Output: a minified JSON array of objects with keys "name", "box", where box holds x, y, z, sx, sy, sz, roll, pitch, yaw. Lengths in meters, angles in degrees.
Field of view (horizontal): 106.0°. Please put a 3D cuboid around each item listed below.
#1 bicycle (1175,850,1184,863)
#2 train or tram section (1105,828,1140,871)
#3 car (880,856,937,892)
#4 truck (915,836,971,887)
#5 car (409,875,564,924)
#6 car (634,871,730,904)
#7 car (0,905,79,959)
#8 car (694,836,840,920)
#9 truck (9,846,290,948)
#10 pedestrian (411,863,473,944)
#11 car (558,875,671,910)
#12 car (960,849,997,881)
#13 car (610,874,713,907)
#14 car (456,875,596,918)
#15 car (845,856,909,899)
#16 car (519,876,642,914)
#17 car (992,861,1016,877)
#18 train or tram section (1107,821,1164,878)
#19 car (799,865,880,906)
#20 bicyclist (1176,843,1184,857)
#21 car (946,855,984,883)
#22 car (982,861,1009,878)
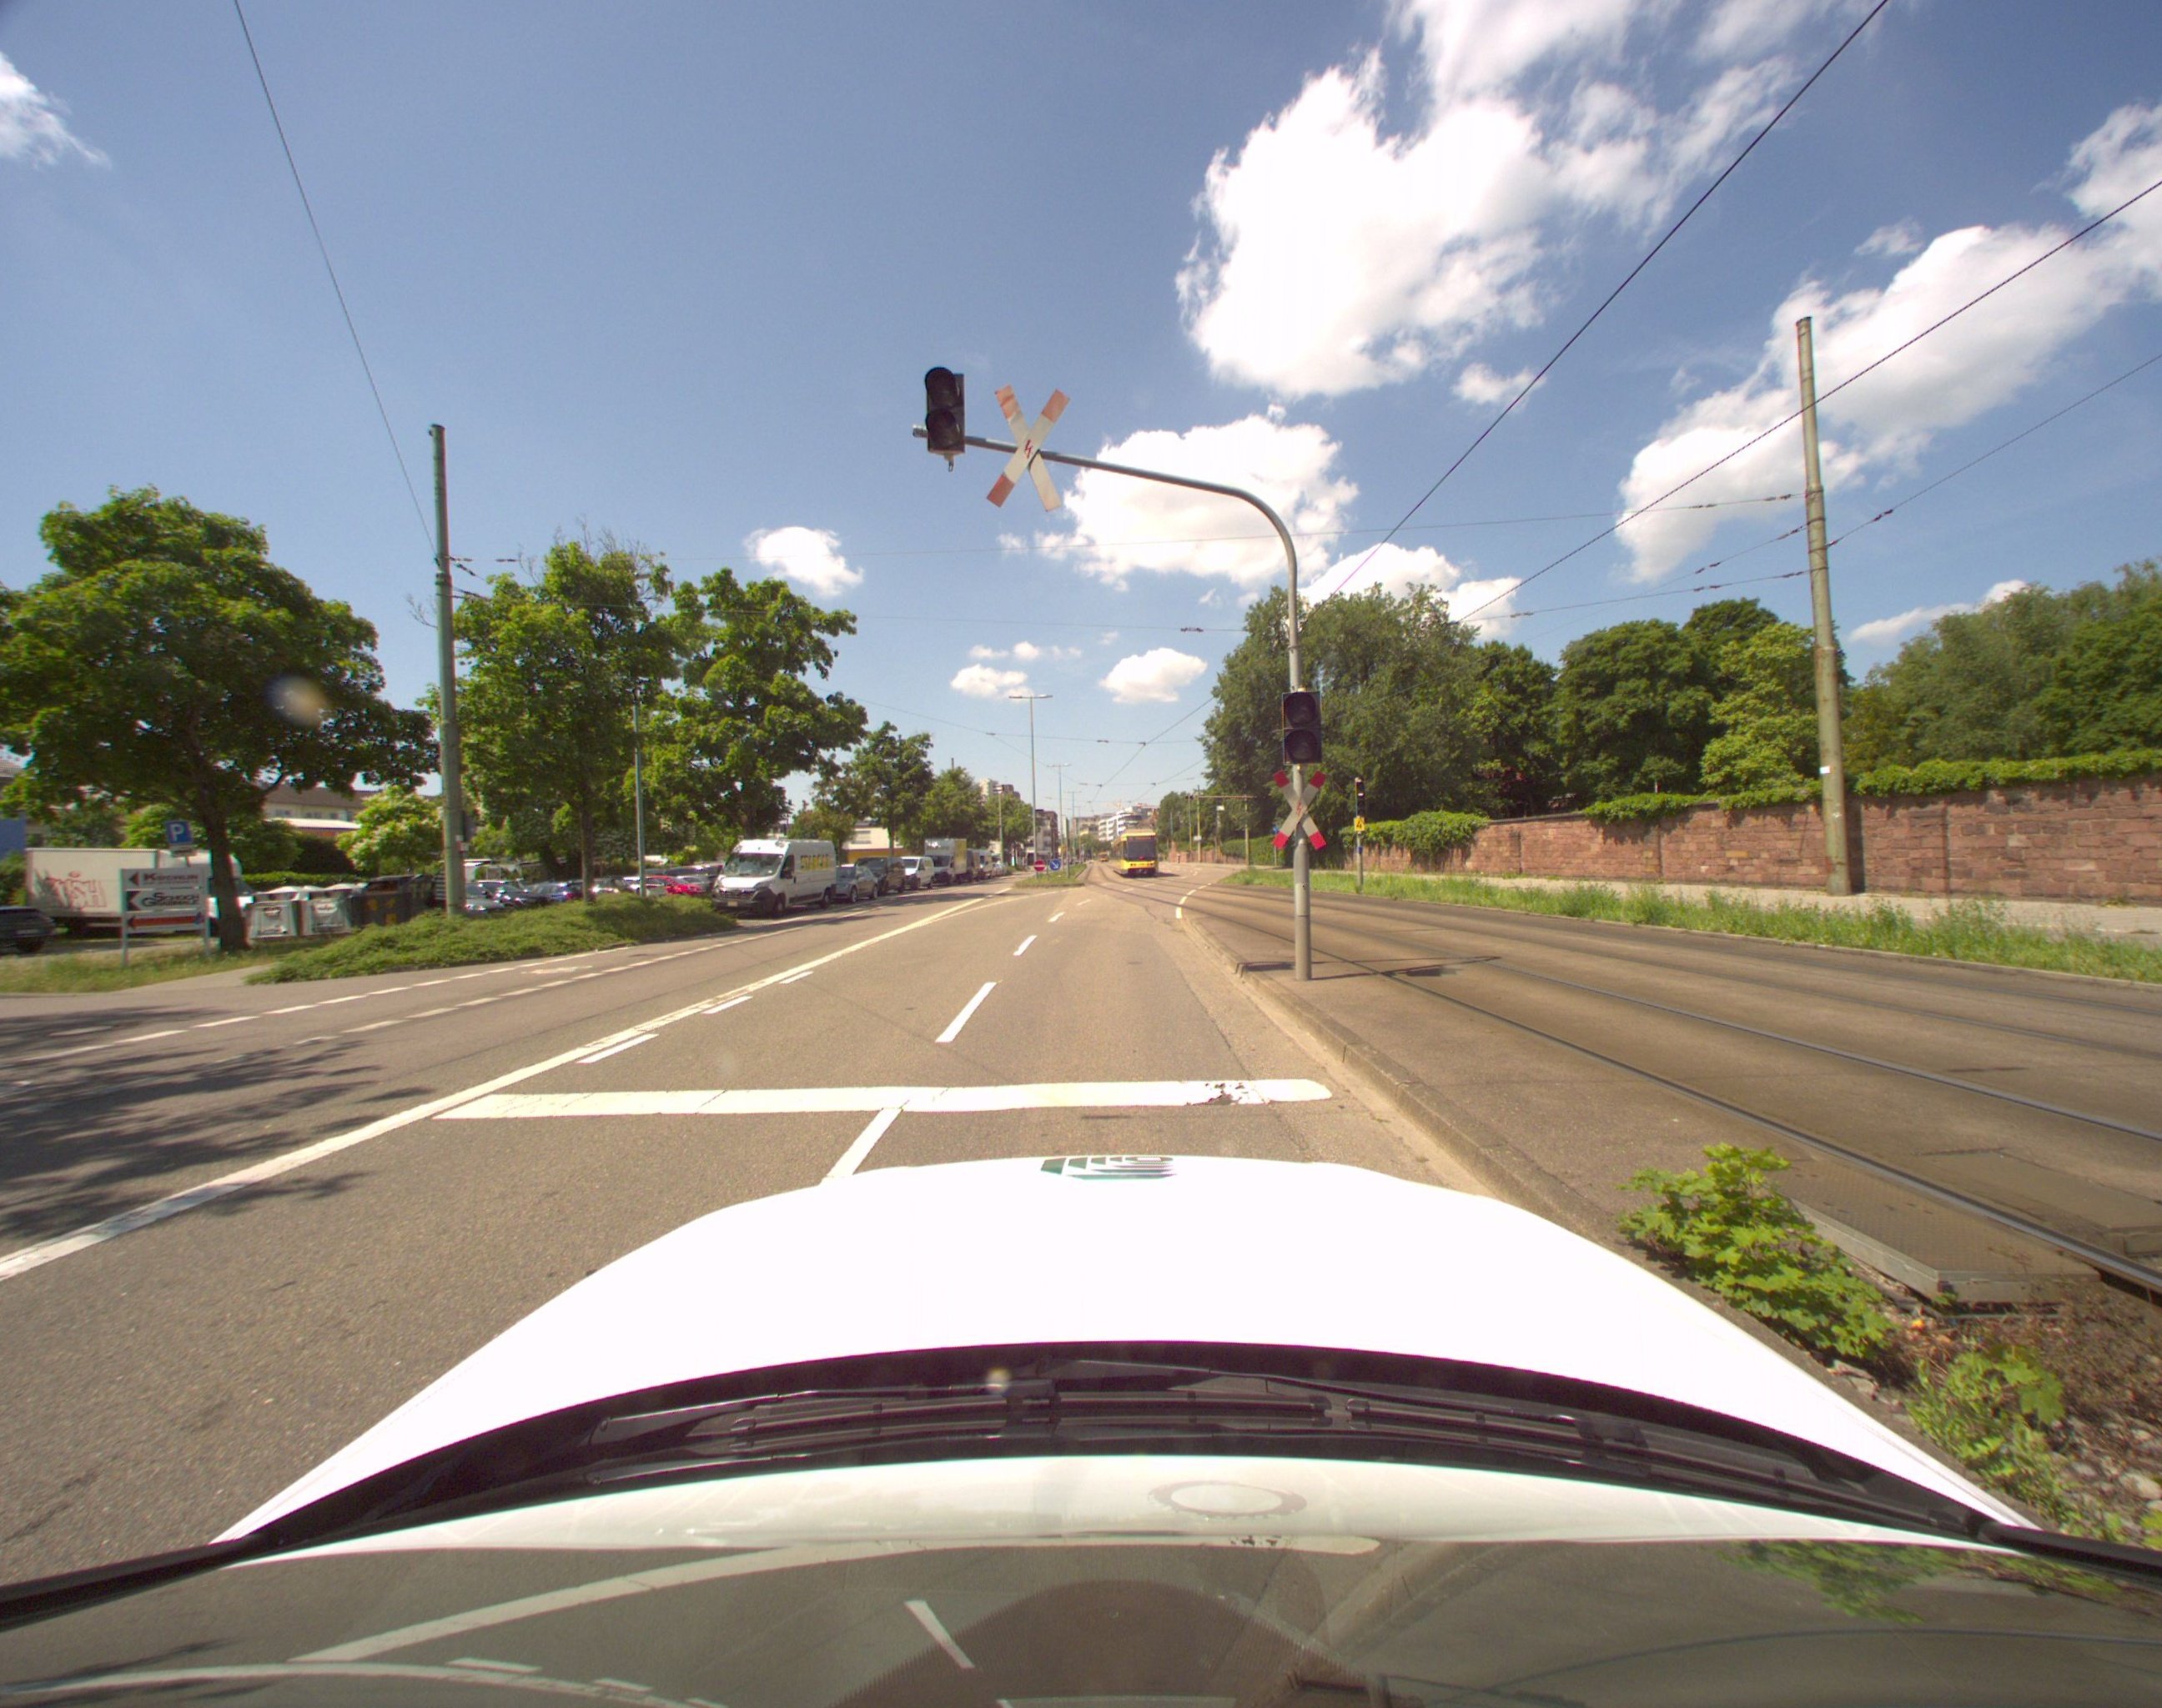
[{"name":"bicycle","box":[14.851,0.343,122.979,1.088,1.908,3.683,-2,0,2]},{"name":"train or tram section","box":[3.968,-0.404,81.828,2.933,3.692,20.289,-1,0,1]},{"name":"car","box":[-9.862,1.108,46.917,2.053,1.898,4.873,-2,0,2]},{"name":"truck","box":[-9.312,0.452,55.590,2.147,3.210,7.088,1,0,3]},{"name":"car","box":[-20.539,1.557,28.267,3.974,1.442,1.805,-2,0,-1]},{"name":"car","box":[-20.510,1.706,41.931,3.974,1.442,1.805,-3,0,0]},{"name":"car","box":[-32.333,2.326,23.705,3.975,1.399,1.772,-2,0,-1]},{"name":"car","box":[-10.289,0.716,27.424,2.147,2.487,6.198,1,0,3]},{"name":"truck","box":[-33.448,1.477,29.443,7.167,3.228,2.331,-2,0,-2]},{"name":"pedestrian","box":[-15.116,1.141,19.294,0.979,1.823,0.788,-1,-1,-27]},{"name":"car","box":[-21.012,1.717,36.789,3.974,1.339,1.805,-2,0,-1]},{"name":"car","box":[-8.873,0.939,70.863,2.148,2.639,5.616,1,0,3]},{"name":"car","box":[-20.209,1.732,39.381,3.974,1.339,1.805,-2,0,-1]},{"name":"car","box":[-20.842,1.574,30.688,3.974,1.339,1.805,-2,0,-1]},{"name":"car","box":[-9.989,1.100,40.164,1.862,1.895,4.272,-2,0,2]},{"name":"car","box":[-20.904,1.699,34.150,3.974,1.339,1.805,-2,0,-1]},{"name":"car","box":[-8.624,1.667,91.844,2.053,1.582,4.873,-2,0,2]},{"name":"train or tram section","box":[3.875,-0.331,62.609,2.934,3.692,18.383,-1,0,0]},{"name":"car","box":[-9.861,1.244,33.615,1.862,1.437,4.344,-2,0,2]},{"name":"bicyclist","box":[14.922,-0.545,122.839,1.092,2.108,1.031,-1,-1,1]},{"name":"car","box":[-8.936,1.142,63.157,2.053,1.977,4.873,-2,0,2]},{"name":"car","box":[-8.843,1.601,84.340,2.053,1.582,4.873,-2,0,2]}]
